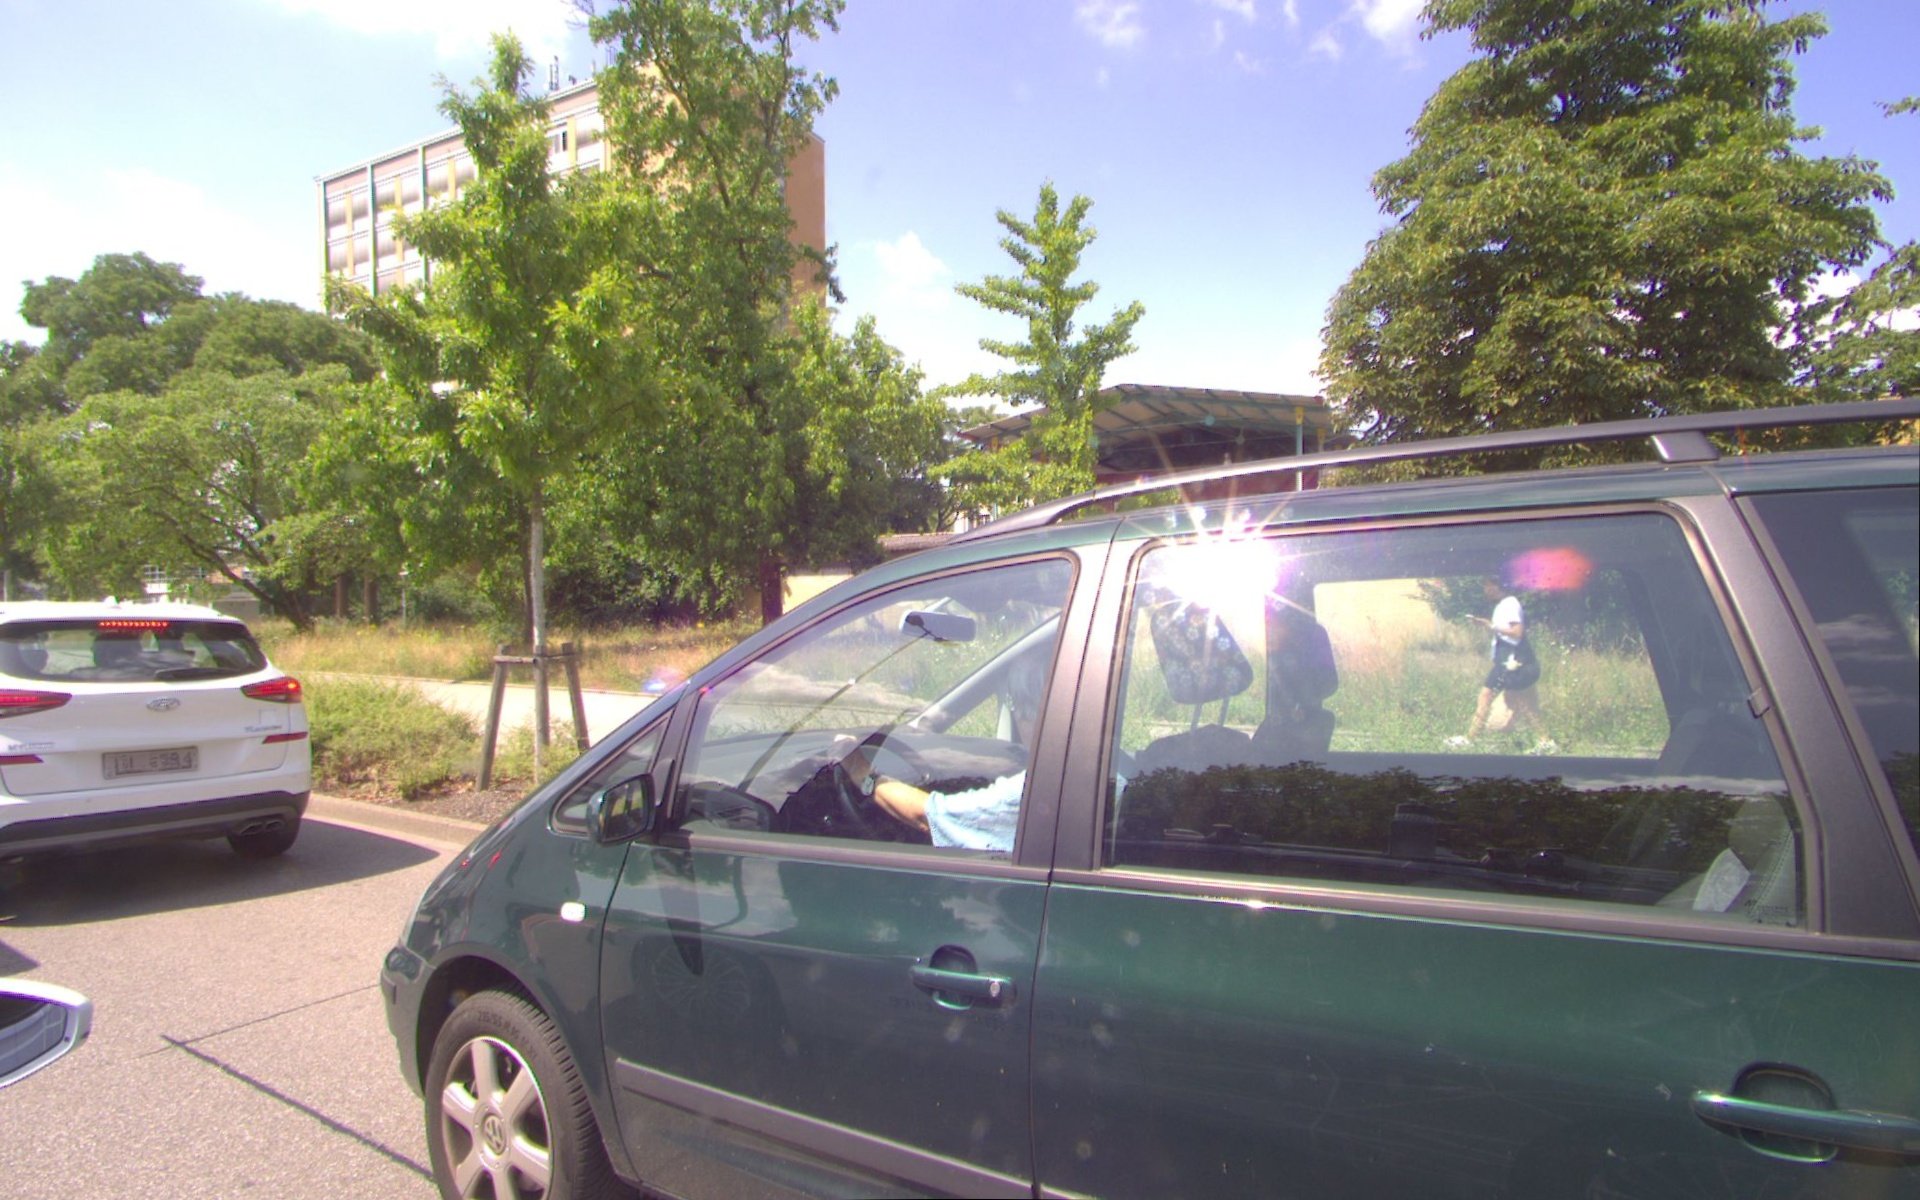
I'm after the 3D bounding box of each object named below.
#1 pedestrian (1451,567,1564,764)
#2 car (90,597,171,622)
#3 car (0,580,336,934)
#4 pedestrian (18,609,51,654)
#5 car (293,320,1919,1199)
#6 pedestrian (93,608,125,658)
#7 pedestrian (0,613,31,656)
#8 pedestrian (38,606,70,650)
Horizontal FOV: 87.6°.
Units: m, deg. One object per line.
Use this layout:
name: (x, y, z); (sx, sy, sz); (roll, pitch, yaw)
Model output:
pedestrian: (4.699, 0.530, 8.588); (0.804, 1.578, 0.757); (0, 1, 32)
car: (-97.208, 1.161, 117.538); (2.452, 2.751, 7.073); (-1, -2, 20)
car: (-5.904, 0.771, 6.409); (3.919, 1.701, 1.810); (0, 0, 34)
pedestrian: (-39.476, 1.325, 42.733); (0.802, 1.874, 0.759); (0, 1, 22)
car: (0.552, 0.633, 2.271); (4.329, 1.737, 1.799); (0, -2, 32)
pedestrian: (-32.310, 1.232, 38.015); (0.806, 1.874, 0.756); (0, 1, 38)
pedestrian: (-37.116, 1.348, 39.347); (0.805, 1.677, 0.756); (0, 1, 36)
pedestrian: (-39.427, 1.200, 43.567); (0.803, 1.874, 0.759); (0, 1, 24)
